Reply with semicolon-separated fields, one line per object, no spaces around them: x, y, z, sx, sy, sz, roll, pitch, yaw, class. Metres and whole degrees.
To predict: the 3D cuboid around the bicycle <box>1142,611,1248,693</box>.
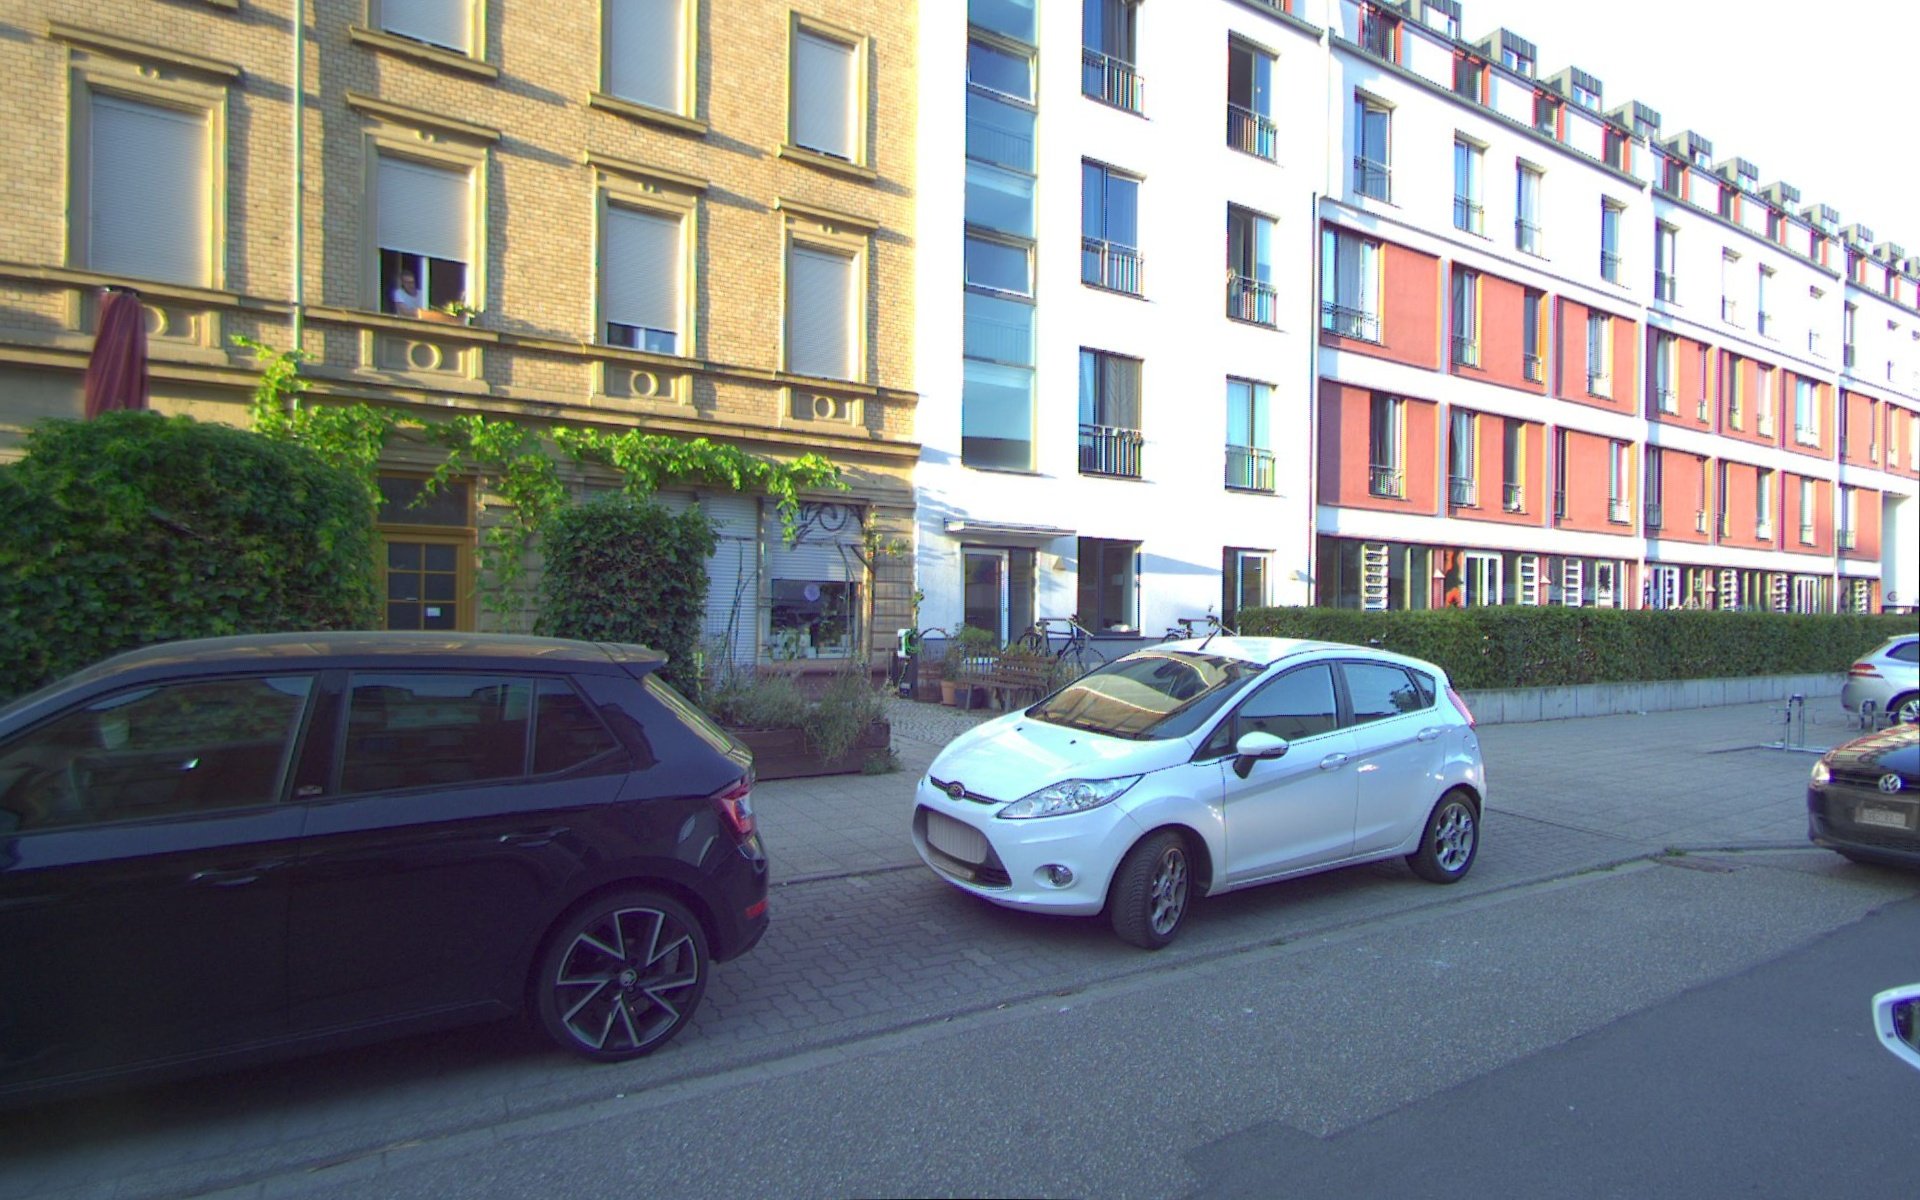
3.676;0.786;15.875;0.603;1.163;1.768;1;1;-28;bicycle

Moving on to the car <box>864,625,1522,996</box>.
1.558;0.960;6.128;3.975;1.550;1.641;1;0;-34;car

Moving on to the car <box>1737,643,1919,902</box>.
7.335;0.994;6.299;3.869;1.474;1.656;0;-3;-9;car

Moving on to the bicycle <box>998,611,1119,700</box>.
1.398;0.764;14.635;0.802;1.157;1.906;1;1;-29;bicycle

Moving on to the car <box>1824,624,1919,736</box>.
14.518;1.146;13.098;1.861;1.480;4.587;1;1;-33;car

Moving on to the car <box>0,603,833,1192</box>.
-2.558;0.811;3.673;3.800;1.554;1.695;1;0;-31;car

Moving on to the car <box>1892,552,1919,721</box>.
16.718;0.622;14.397;1.976;2.619;4.492;1;1;-29;car
